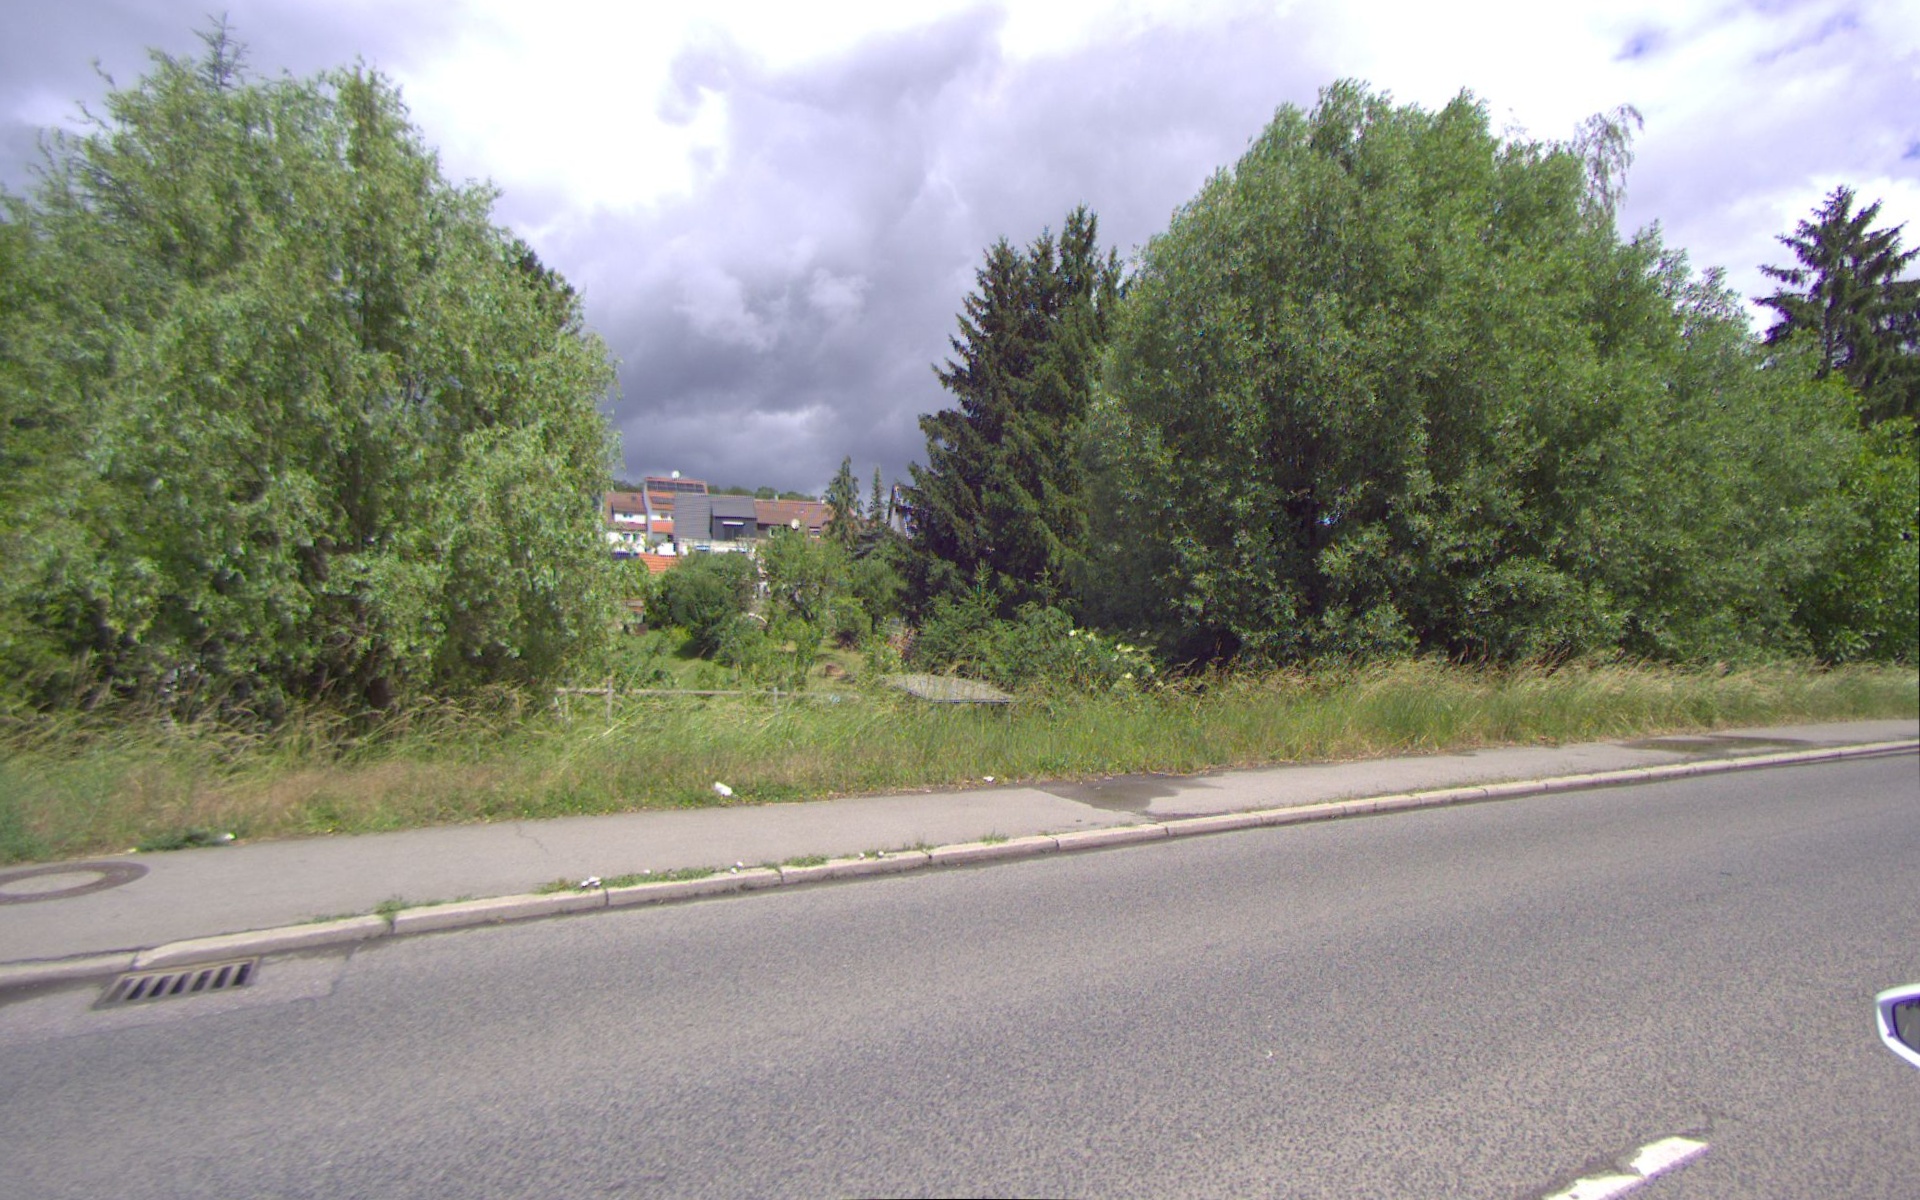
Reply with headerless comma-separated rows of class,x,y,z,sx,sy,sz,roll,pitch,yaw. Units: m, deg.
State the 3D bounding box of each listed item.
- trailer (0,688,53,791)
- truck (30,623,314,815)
trailer,-16.033,2.212,15.262,1.970,1.576,3.982,1,-3,-21
truck,-12.981,1.803,17.153,1.970,2.643,6.195,1,-3,-21
